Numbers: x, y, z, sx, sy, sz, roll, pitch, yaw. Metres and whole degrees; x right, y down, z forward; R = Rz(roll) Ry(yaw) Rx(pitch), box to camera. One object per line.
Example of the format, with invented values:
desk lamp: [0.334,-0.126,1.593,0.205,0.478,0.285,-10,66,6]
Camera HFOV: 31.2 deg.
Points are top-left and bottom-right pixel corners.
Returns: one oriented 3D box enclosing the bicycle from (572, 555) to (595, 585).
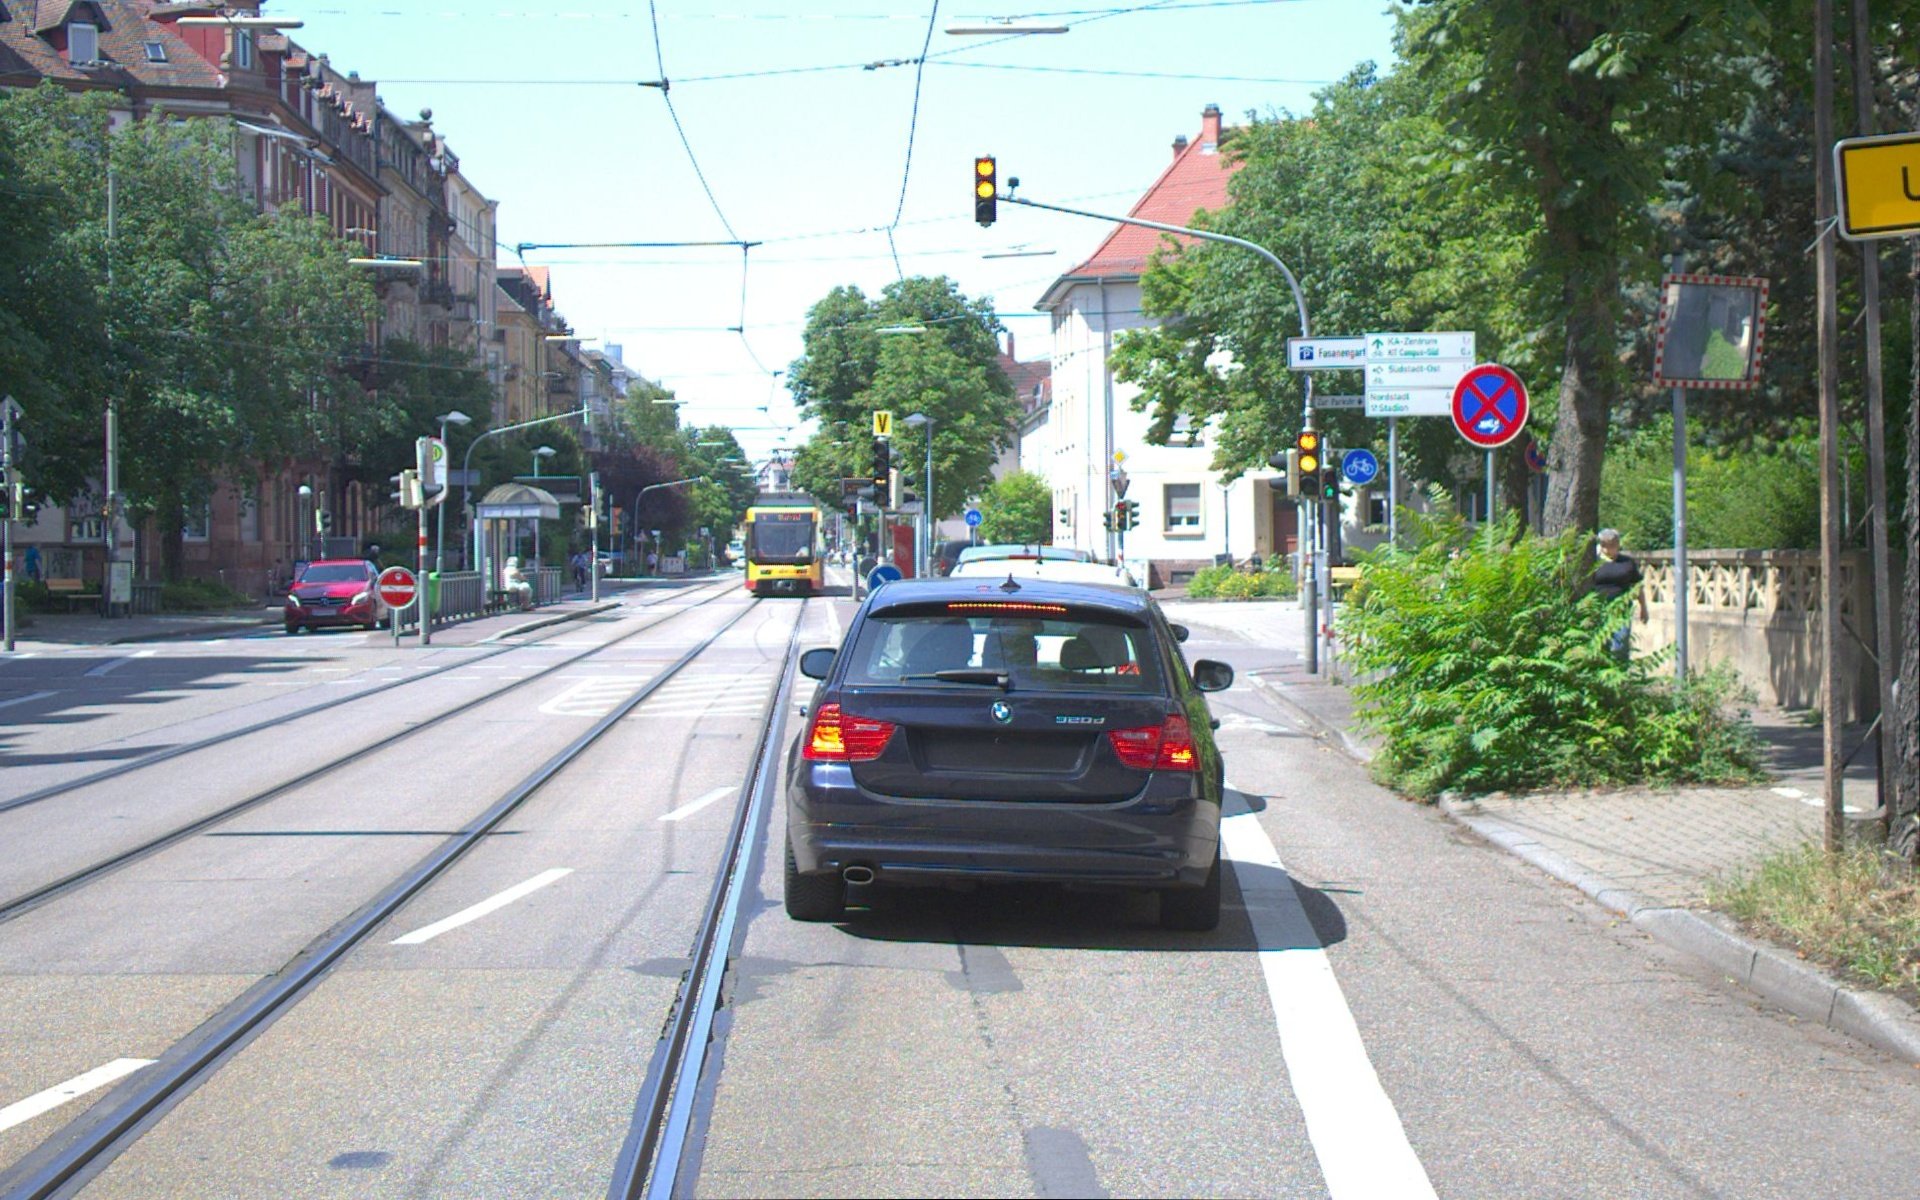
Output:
bicycle: [-14.180,-1.133,129.515,0.729,1.098,1.715,0,1,-1]

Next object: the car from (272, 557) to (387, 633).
car: [-12.760,-0.120,69.769,1.822,1.408,4.430,-2,1,-5]

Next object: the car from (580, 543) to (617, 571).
car: [-21.383,-2.529,203.239,1.787,1.580,4.001,1,0,-11]

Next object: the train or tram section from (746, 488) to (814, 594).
train or tram section: [-6.091,-2.008,116.858,2.190,3.470,8.846,0,1,-2]

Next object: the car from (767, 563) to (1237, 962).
car: [0.203,0.584,15.181,1.722,1.404,4.565,2,1,1]

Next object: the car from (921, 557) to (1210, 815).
car: [0.614,0.480,21.993,1.685,1.479,3.685,0,1,0]

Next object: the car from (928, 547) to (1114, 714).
car: [0.604,0.255,33.957,1.691,1.508,3.821,1,1,1]

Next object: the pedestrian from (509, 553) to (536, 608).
pedestrian: [-10.039,-0.450,78.918,0.613,1.238,0.628,0,1,-8]

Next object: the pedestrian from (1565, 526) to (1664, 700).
pedestrian: [6.267,0.115,32.931,0.857,1.640,0.836,-1,1,7]
